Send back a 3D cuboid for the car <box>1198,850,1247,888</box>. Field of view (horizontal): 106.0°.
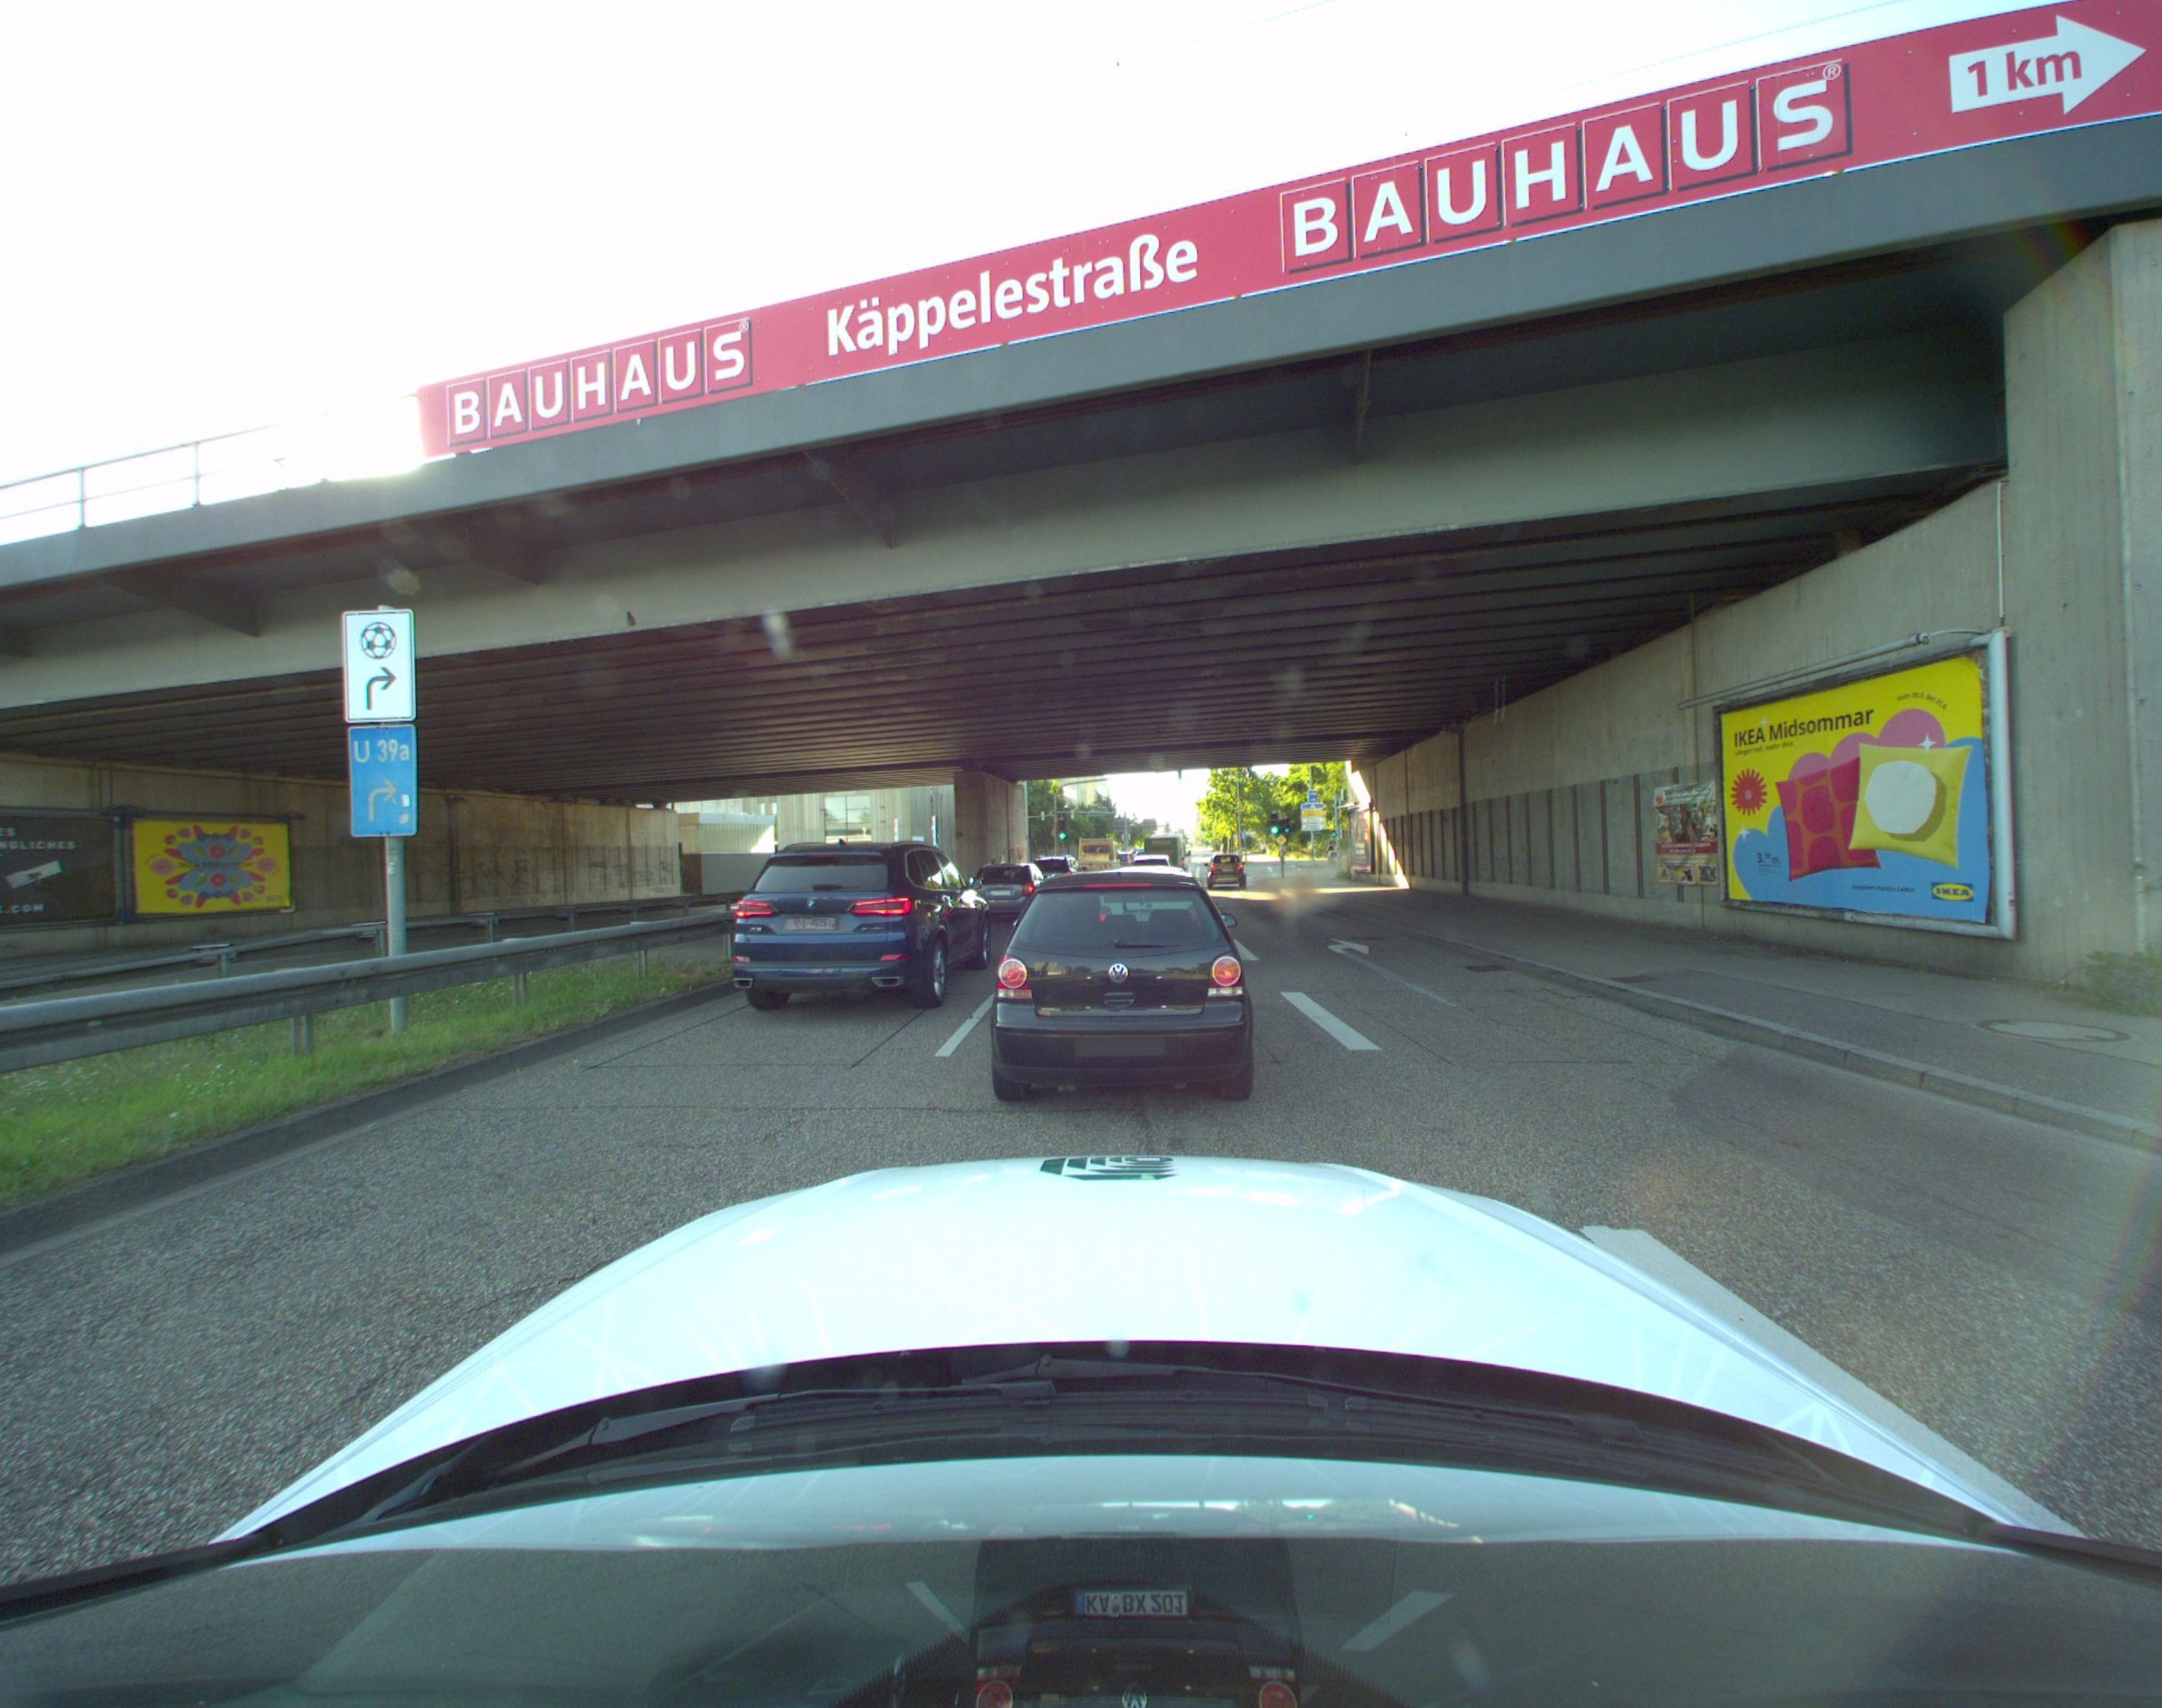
[{"bbox_3d":[6.345,0.647,36.871,1.729,1.630,4.066,0,-1,3],"label":"car"}]

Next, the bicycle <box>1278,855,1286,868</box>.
[{"bbox_3d":[14.479,0.519,58.684,0.435,0.914,1.029,-3,-1,9],"label":"bicycle"}]

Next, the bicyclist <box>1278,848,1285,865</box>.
[{"bbox_3d":[14.482,0.185,58.745,0.425,1.233,0.461,-2,-1,8],"label":"bicyclist"}]

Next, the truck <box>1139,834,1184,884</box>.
[{"bbox_3d":[4.034,0.267,40.126,1.984,2.315,4.009,0,-1,8],"label":"truck"}]

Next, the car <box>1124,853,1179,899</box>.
[{"bbox_3d":[2.682,0.783,30.269,1.786,1.559,4.009,0,-1,8],"label":"car"}]

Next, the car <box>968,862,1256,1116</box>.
[{"bbox_3d":[0.241,0.781,6.420,1.610,1.410,3.685,0,-1,2],"label":"car"}]

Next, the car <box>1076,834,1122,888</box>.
[{"bbox_3d":[0.978,0.345,41.251,2.127,2.576,5.092,0,-1,4],"label":"car"}]

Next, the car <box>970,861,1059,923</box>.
[{"bbox_3d":[-1.595,0.904,20.740,1.608,1.410,3.689,0,-1,6],"label":"car"}]

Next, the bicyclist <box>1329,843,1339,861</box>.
[{"bbox_3d":[18.488,-0.137,59.493,0.540,1.316,0.837,0,-1,8],"label":"bicyclist"}]

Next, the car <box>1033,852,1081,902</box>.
[{"bbox_3d":[-0.884,0.807,29.448,1.612,1.679,3.679,0,-1,-2],"label":"car"}]

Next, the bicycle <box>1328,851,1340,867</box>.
[{"bbox_3d":[18.488,0.363,59.553,0.561,1.112,1.625,-1,-1,9],"label":"bicycle"}]

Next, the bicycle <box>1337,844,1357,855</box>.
[{"bbox_3d":[25.050,-0.410,76.687,1.647,0.991,0.581,-3,2,25],"label":"bicycle"}]

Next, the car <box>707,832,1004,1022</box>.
[{"bbox_3d":[-2.305,0.688,9.768,1.984,1.734,4.538,0,-1,5],"label":"car"}]

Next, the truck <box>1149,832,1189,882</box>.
[{"bbox_3d":[4.927,0.177,45.170,1.984,2.668,4.009,0,-1,8],"label":"truck"}]

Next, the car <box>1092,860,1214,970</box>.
[{"bbox_3d":[1.043,0.806,12.550,1.572,1.413,4.065,0,-1,3],"label":"car"}]

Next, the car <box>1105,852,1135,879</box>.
[{"bbox_3d":[2.508,0.732,51.788,1.608,1.679,3.691,0,-1,7],"label":"car"}]
